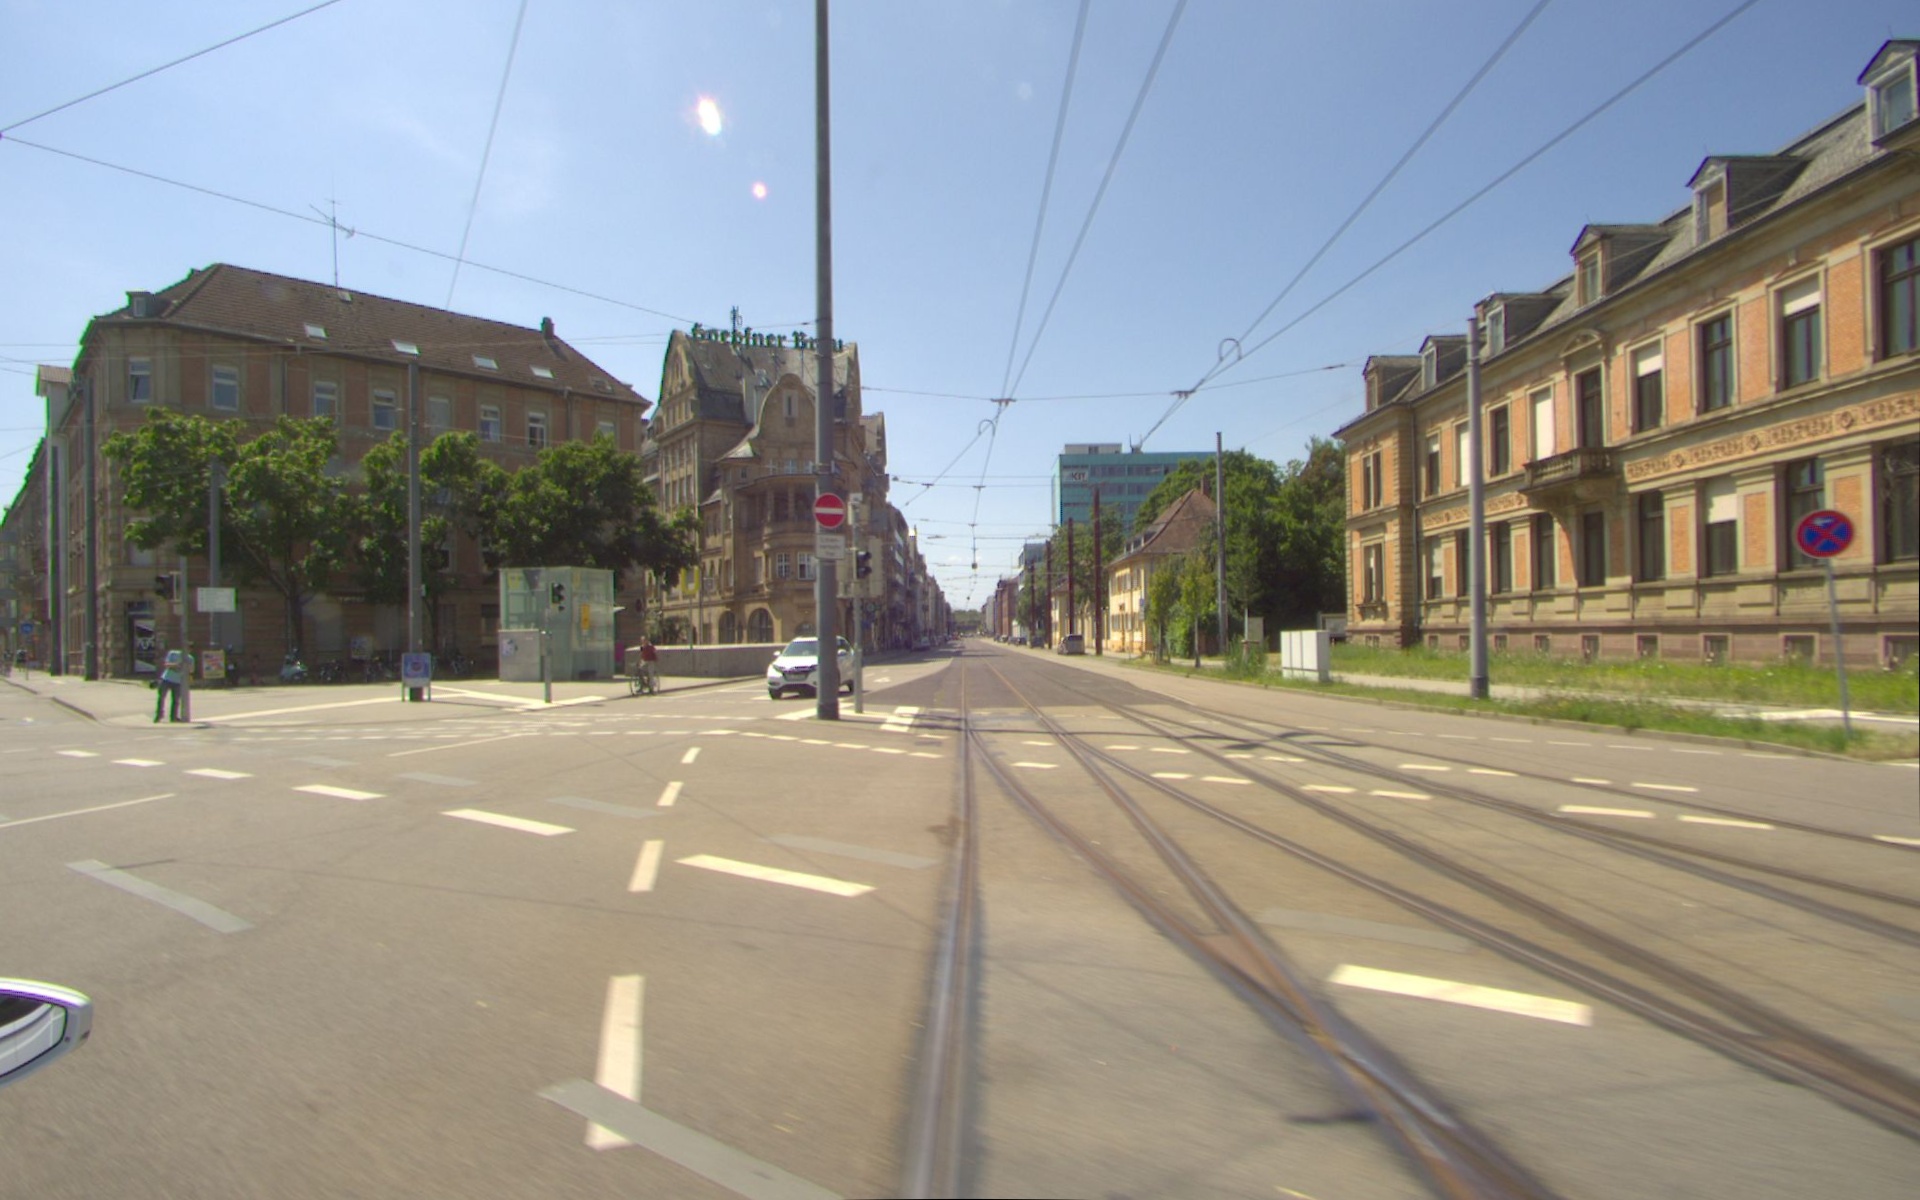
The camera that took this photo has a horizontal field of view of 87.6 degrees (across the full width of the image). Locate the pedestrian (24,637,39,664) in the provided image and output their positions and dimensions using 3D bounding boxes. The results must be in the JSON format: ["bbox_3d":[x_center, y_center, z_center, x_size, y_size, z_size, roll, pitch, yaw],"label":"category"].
[{"bbox_3d":[-72.013,3.908,77.682,0.657,2.038,0.764,-3,-4,41],"label":"pedestrian"}]

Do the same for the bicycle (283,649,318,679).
[{"bbox_3d":[-25.523,2.487,38.751,2.067,1.159,0.441,-3,-4,36],"label":"bicycle"}]

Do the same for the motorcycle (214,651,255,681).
[{"bbox_3d":[-26.678,2.411,36.831,1.919,1.088,0.579,-2,-1,33],"label":"motorcycle"}]

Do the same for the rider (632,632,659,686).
[{"bbox_3d":[-9.571,1.779,30.456,0.553,1.622,0.875,-1,-1,-2],"label":"rider"}]

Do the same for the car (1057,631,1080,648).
[{"bbox_3d":[10.061,3.701,93.164,1.961,1.470,4.004,-1,-4,3],"label":"car"}]

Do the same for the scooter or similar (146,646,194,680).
[{"bbox_3d":[-29.379,2.343,37.268,0.588,1.196,1.792,-1,-1,-10],"label":"scooter or similar"}]

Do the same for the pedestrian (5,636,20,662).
[{"bbox_3d":[-72.724,3.763,76.838,0.657,2.038,0.764,-3,-4,41],"label":"pedestrian"}]

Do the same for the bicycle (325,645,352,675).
[{"bbox_3d":[-24.563,2.360,39.574,0.547,1.134,1.803,0,-2,-44],"label":"bicycle"}]

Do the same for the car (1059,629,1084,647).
[{"bbox_3d":[9.770,3.335,87.961,1.961,1.470,4.004,-1,-4,3],"label":"car"}]

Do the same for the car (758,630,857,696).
[{"bbox_3d":[-4.023,1.631,27.029,1.661,1.626,4.194,-1,-1,6],"label":"car"}]

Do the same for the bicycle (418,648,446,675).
[{"bbox_3d":[-22.678,2.640,43.032,0.547,1.134,1.911,0,-2,-44],"label":"bicycle"}]

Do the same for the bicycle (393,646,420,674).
[{"bbox_3d":[-23.257,2.519,42.060,0.547,1.134,1.852,0,-2,-44],"label":"bicycle"}]

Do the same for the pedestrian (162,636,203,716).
[{"bbox_3d":[-17.003,1.654,21.906,0.629,1.730,0.461,-1,-1,22],"label":"pedestrian"}]

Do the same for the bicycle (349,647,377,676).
[{"bbox_3d":[-23.947,2.458,40.149,0.547,1.134,1.803,0,-2,-44],"label":"bicycle"}]

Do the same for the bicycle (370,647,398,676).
[{"bbox_3d":[-23.433,2.492,40.756,0.547,1.134,1.871,0,-2,-44],"label":"bicycle"}]

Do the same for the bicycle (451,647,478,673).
[{"bbox_3d":[-21.814,2.635,44.104,0.547,1.134,1.803,0,-2,-44],"label":"bicycle"}]

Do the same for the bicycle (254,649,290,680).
[{"bbox_3d":[-25.976,2.409,37.786,1.797,1.134,0.549,-2,-1,36],"label":"bicycle"}]
